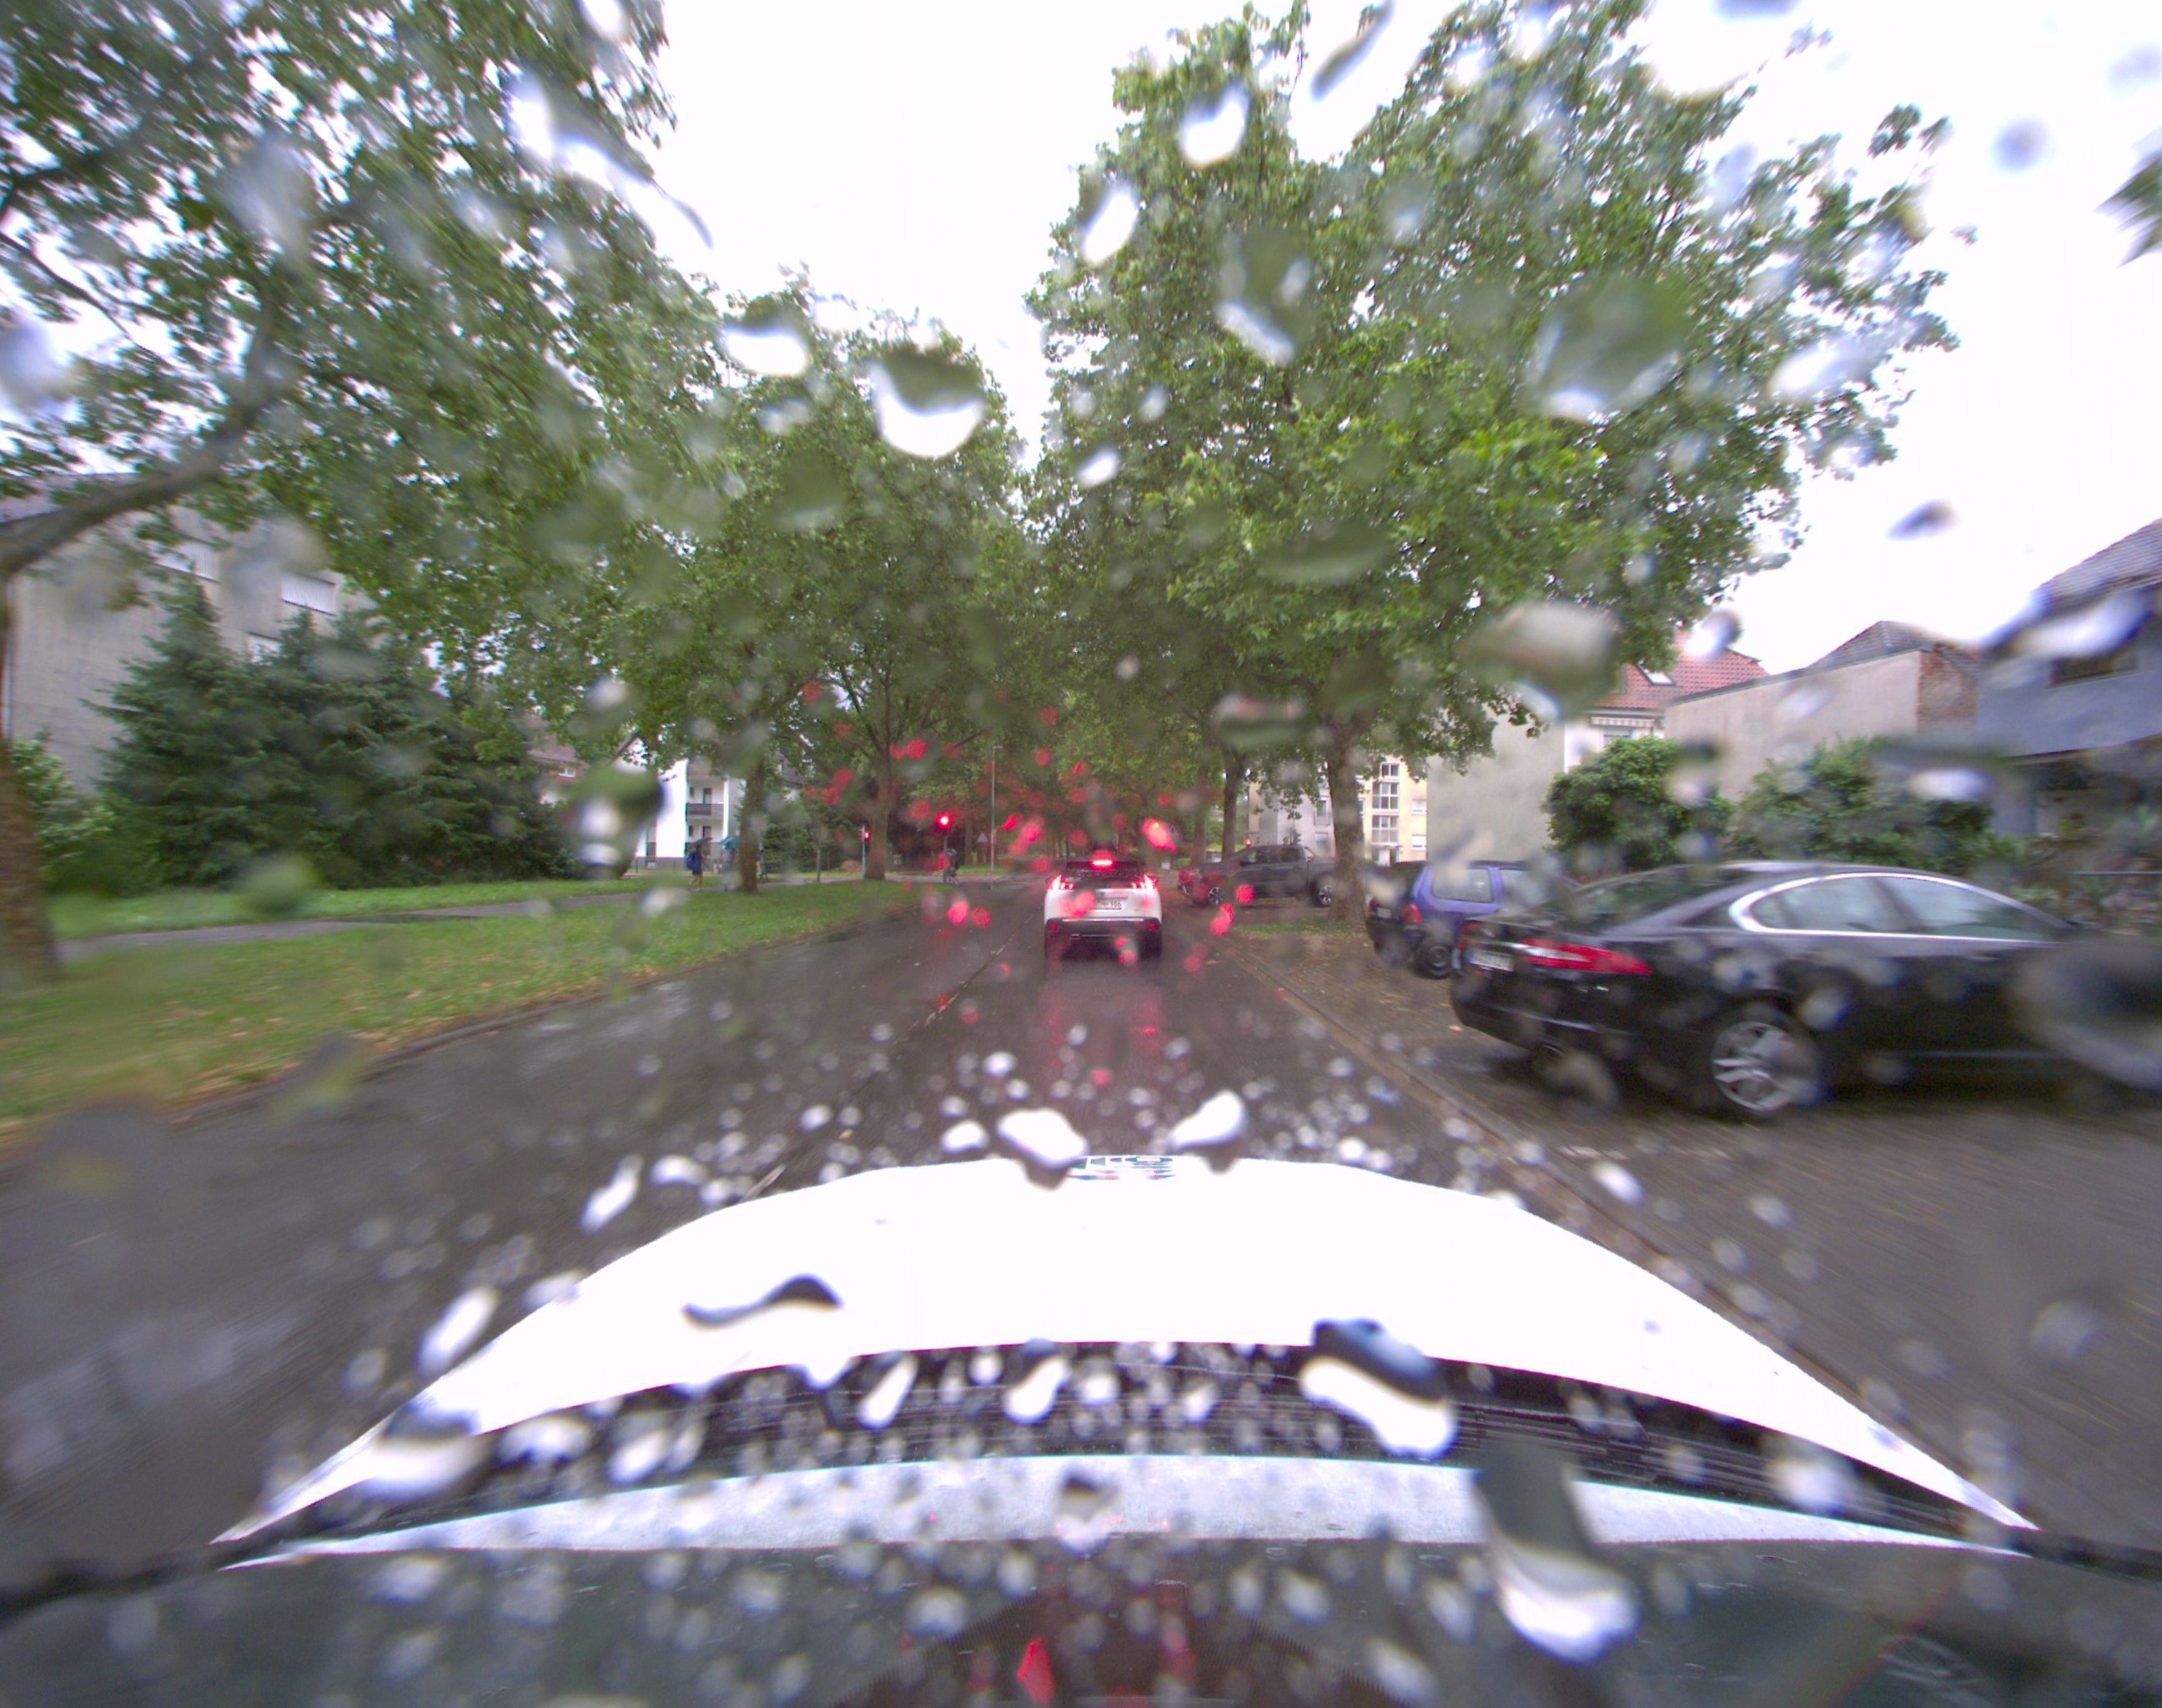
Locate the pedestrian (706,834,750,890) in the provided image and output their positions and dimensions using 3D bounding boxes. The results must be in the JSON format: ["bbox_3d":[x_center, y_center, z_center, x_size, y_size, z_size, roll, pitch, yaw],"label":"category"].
[{"bbox_3d":[-11.395,0.255,26.322,1.029,1.765,0.838,0,0,1],"label":"pedestrian"}]

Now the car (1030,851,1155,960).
[{"bbox_3d":[0.230,0.721,13.589,1.773,1.536,4.059,0,0,2],"label":"car"}]

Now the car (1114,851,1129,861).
[{"bbox_3d":[6.004,0.322,119.881,1.900,1.510,3.928,0,0,-2],"label":"car"}]

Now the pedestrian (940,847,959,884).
[{"bbox_3d":[-6.287,0.556,38.917,0.818,1.744,0.639,1,0,-1],"label":"pedestrian"}]

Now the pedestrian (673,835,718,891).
[{"bbox_3d":[-12.494,0.289,26.410,1.029,1.765,0.879,0,0,1],"label":"pedestrian"}]

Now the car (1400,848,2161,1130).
[{"bbox_3d":[4.881,0.714,5.470,4.756,1.473,1.935,0,0,-4],"label":"car"}]

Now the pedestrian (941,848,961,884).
[{"bbox_3d":[-6.375,0.581,39.829,0.856,1.744,0.639,1,0,-1],"label":"pedestrian"}]

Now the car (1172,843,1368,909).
[{"bbox_3d":[5.487,0.611,23.986,5.330,1.807,1.842,-1,0,-6],"label":"car"}]

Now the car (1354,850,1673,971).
[{"bbox_3d":[5.508,0.684,10.668,3.344,1.464,1.619,0,0,0],"label":"car"}]
